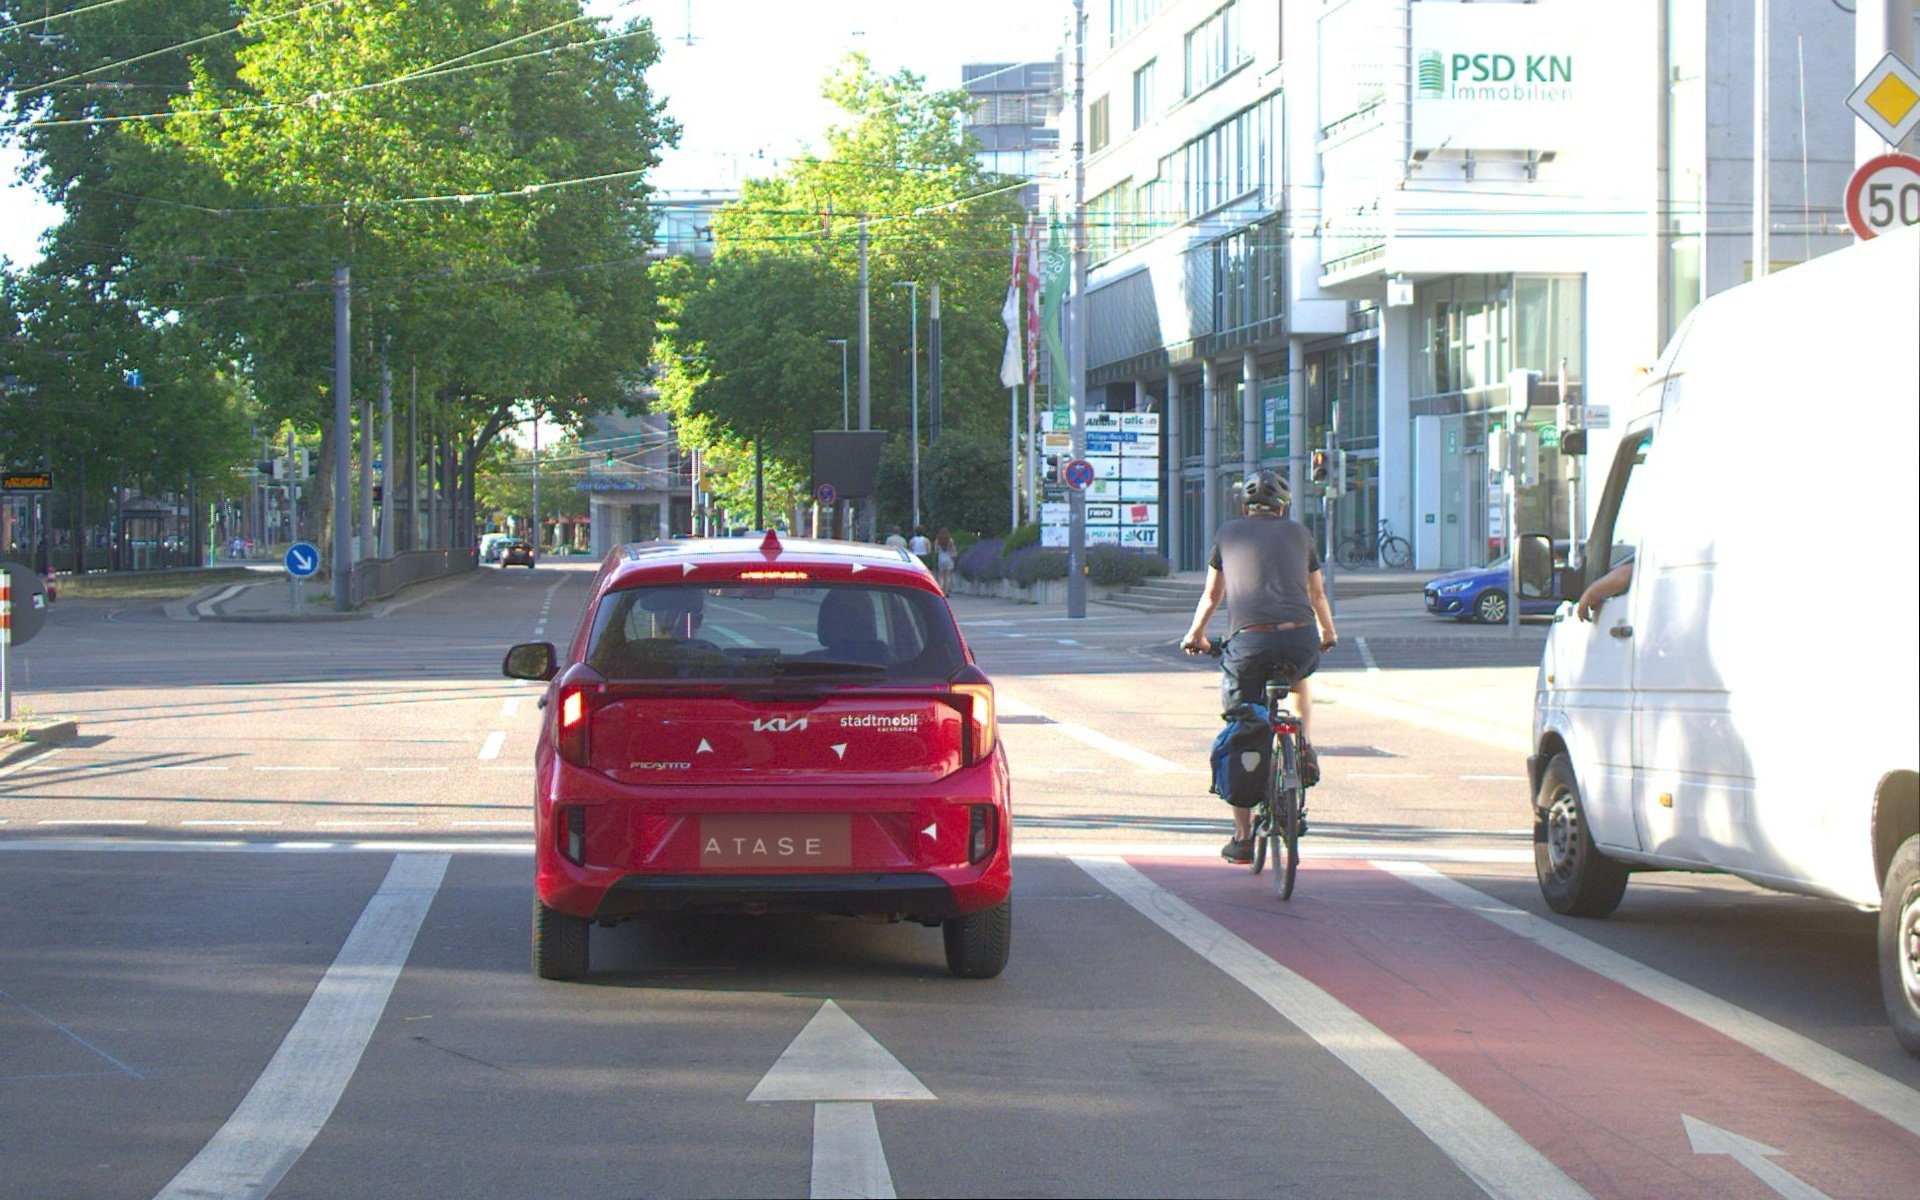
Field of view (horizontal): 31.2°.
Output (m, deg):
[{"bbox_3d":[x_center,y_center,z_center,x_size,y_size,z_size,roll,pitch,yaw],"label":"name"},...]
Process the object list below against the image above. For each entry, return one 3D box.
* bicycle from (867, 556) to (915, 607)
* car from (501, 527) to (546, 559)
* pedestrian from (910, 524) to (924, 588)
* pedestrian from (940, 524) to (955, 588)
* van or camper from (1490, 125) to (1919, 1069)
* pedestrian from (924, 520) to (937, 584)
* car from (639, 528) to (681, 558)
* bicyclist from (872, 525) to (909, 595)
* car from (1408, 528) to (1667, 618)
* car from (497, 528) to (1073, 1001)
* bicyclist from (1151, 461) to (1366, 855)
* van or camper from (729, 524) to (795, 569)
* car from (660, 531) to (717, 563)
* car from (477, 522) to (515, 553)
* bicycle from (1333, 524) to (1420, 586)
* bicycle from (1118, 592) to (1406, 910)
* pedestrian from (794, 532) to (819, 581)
[{"bbox_3d":[-1.628,-0.445,80.772,0.792,1.157,2.500,-1,1,-9],"label":"bicycle"},{"bbox_3d":[-22.990,-2.999,181.024,2.057,1.648,3.493,-1,1,-12],"label":"car"},{"bbox_3d":[-1.058,-1.088,84.292,0.294,1.556,0.302,-1,1,-10],"label":"pedestrian"},{"bbox_3d":[-0.312,-1.085,84.616,0.294,1.556,0.314,0,1,10],"label":"pedestrian"},{"bbox_3d":[3.752,-0.020,11.515,2.268,2.724,6.348,2,1,-6],"label":"van or camper"},{"bbox_3d":[-0.728,-1.185,84.658,0.294,1.556,0.356,-1,1,-4],"label":"pedestrian"},{"bbox_3d":[-16.239,-3.089,185.798,1.884,1.523,4.433,-1,1,-10],"label":"car"},{"bbox_3d":[-1.640,-0.942,80.881,0.785,1.629,0.639,-1,1,-9],"label":"bicyclist"},{"bbox_3d":[10.467,-0.511,62.447,4.258,1.562,1.850,-1,1,-8],"label":"car"},{"bbox_3d":[-0.765,0.483,12.875,1.839,1.484,3.717,0,1,-7],"label":"car"},{"bbox_3d":[1.292,0.239,15.002,0.743,1.663,0.745,1,1,-8],"label":"bicyclist"},{"bbox_3d":[-7.977,-2.173,138.044,2.145,1.744,4.433,-1,1,-10],"label":"van or camper"},{"bbox_3d":[-13.484,-2.638,170.679,2.478,1.523,4.433,-1,1,-8],"label":"car"},{"bbox_3d":[-30.092,-4.060,223.086,1.993,2.007,4.000,-1,1,-1],"label":"car"},{"bbox_3d":[9.856,-1.072,81.344,1.934,1.438,0.575,-1,1,-8],"label":"bicycle"},{"bbox_3d":[1.278,0.615,15.023,0.743,1.220,2.156,1,2,-8],"label":"bicycle"},{"bbox_3d":[-5.445,-1.544,121.752,0.742,1.710,0.748,-1,1,-14],"label":"pedestrian"}]
